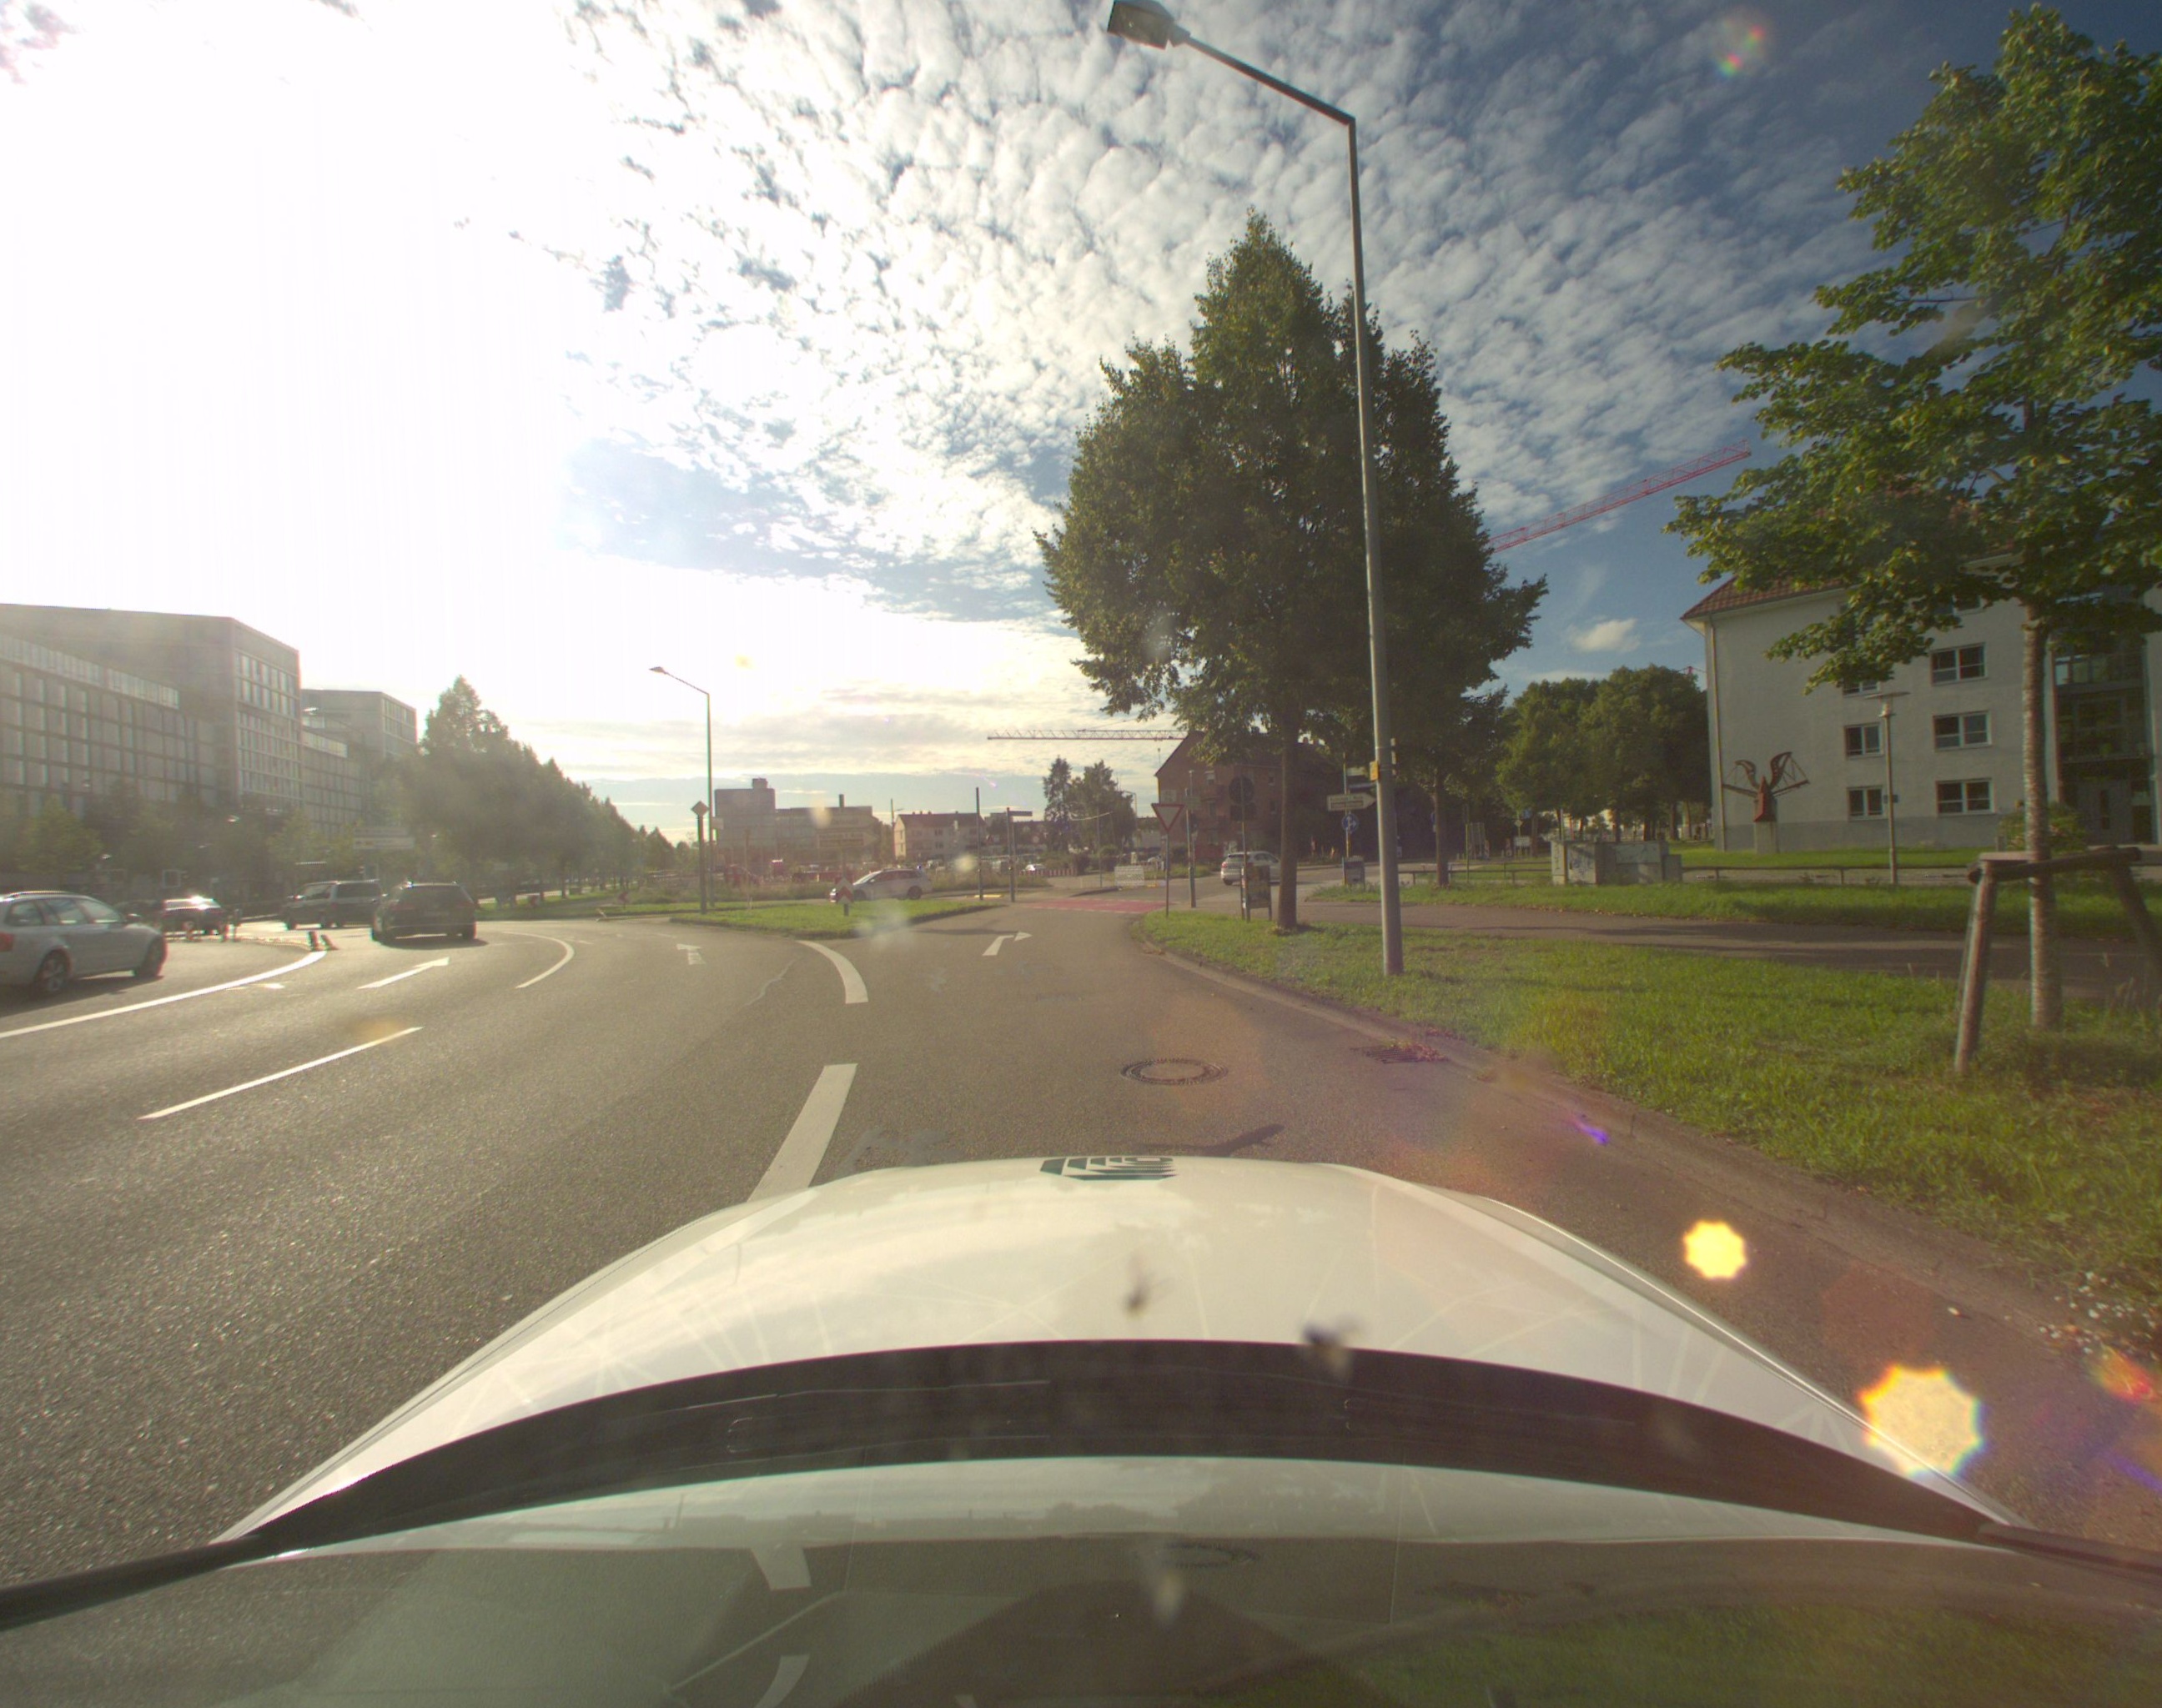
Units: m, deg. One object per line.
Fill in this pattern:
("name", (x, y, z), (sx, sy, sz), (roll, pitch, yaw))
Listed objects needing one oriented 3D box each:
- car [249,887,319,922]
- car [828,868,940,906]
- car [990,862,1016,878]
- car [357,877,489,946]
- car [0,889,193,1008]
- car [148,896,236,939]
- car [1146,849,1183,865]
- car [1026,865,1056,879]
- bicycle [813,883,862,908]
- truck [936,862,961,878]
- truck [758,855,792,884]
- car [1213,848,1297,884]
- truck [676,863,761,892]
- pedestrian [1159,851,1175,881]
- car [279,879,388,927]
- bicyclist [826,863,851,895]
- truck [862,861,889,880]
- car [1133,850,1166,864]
("car", (-49.588, 3.109, 50.783), (1.908, 1.903, 4.616), (-2, 0, -29))
("car", (-8.903, 1.458, 36.893), (4.561, 1.452, 1.804), (-2, 0, -34))
("car", (-9.533, 1.934, 99.189), (1.890, 1.816, 3.965), (-2, 0, -27))
("car", (-17.195, 1.474, 21.188), (4.783, 1.567, 2.012), (-4, -3, 43))
("car", (-15.609, 1.318, 12.027), (1.861, 1.445, 4.597), (-2, -1, -27))
("car", (-35.371, 2.463, 32.379), (4.600, 1.431, 1.914), (-1, 0, 37))
("car", (9.670, 0.365, 93.922), (3.959, 1.618, 1.780), (-3, 0, 13))
("car", (-4.428, 1.995, 89.257), (1.725, 1.393, 3.965), (-2, 0, -27))
("bicycle", (-12.137, 2.059, 40.601), (2.193, 1.063, 0.704), (-3, 0, -4))
("truck", (-19.206, 2.357, 117.804), (1.985, 2.171, 5.358), (-2, 0, -27))
("truck", (-37.145, 1.891, 98.808), (2.824, 3.207, 7.249), (-2, 0, -28))
("car", (8.407, 0.555, 39.108), (1.833, 1.572, 4.481), (-1, 0, 44))
("truck", (-37.686, 2.402, 84.887), (7.873, 2.567, 3.049), (-2, 0, -25))
("pedestrian", (5.494, 0.761, 52.015), (0.660, 1.871, 0.840), (-3, -1, 31))
("car", (-32.258, 2.075, 35.129), (4.602, 1.903, 1.913), (-1, 0, 27))
("bicyclist", (-12.068, 1.246, 40.597), (1.005, 1.511, 0.704), (-3, 0, -4))
("truck", (-26.468, 2.138, 104.903), (2.069, 2.328, 5.587), (-2, 0, -28))
("car", (8.361, 0.373, 99.788), (3.970, 1.618, 1.775), (-2, 0, 3))
